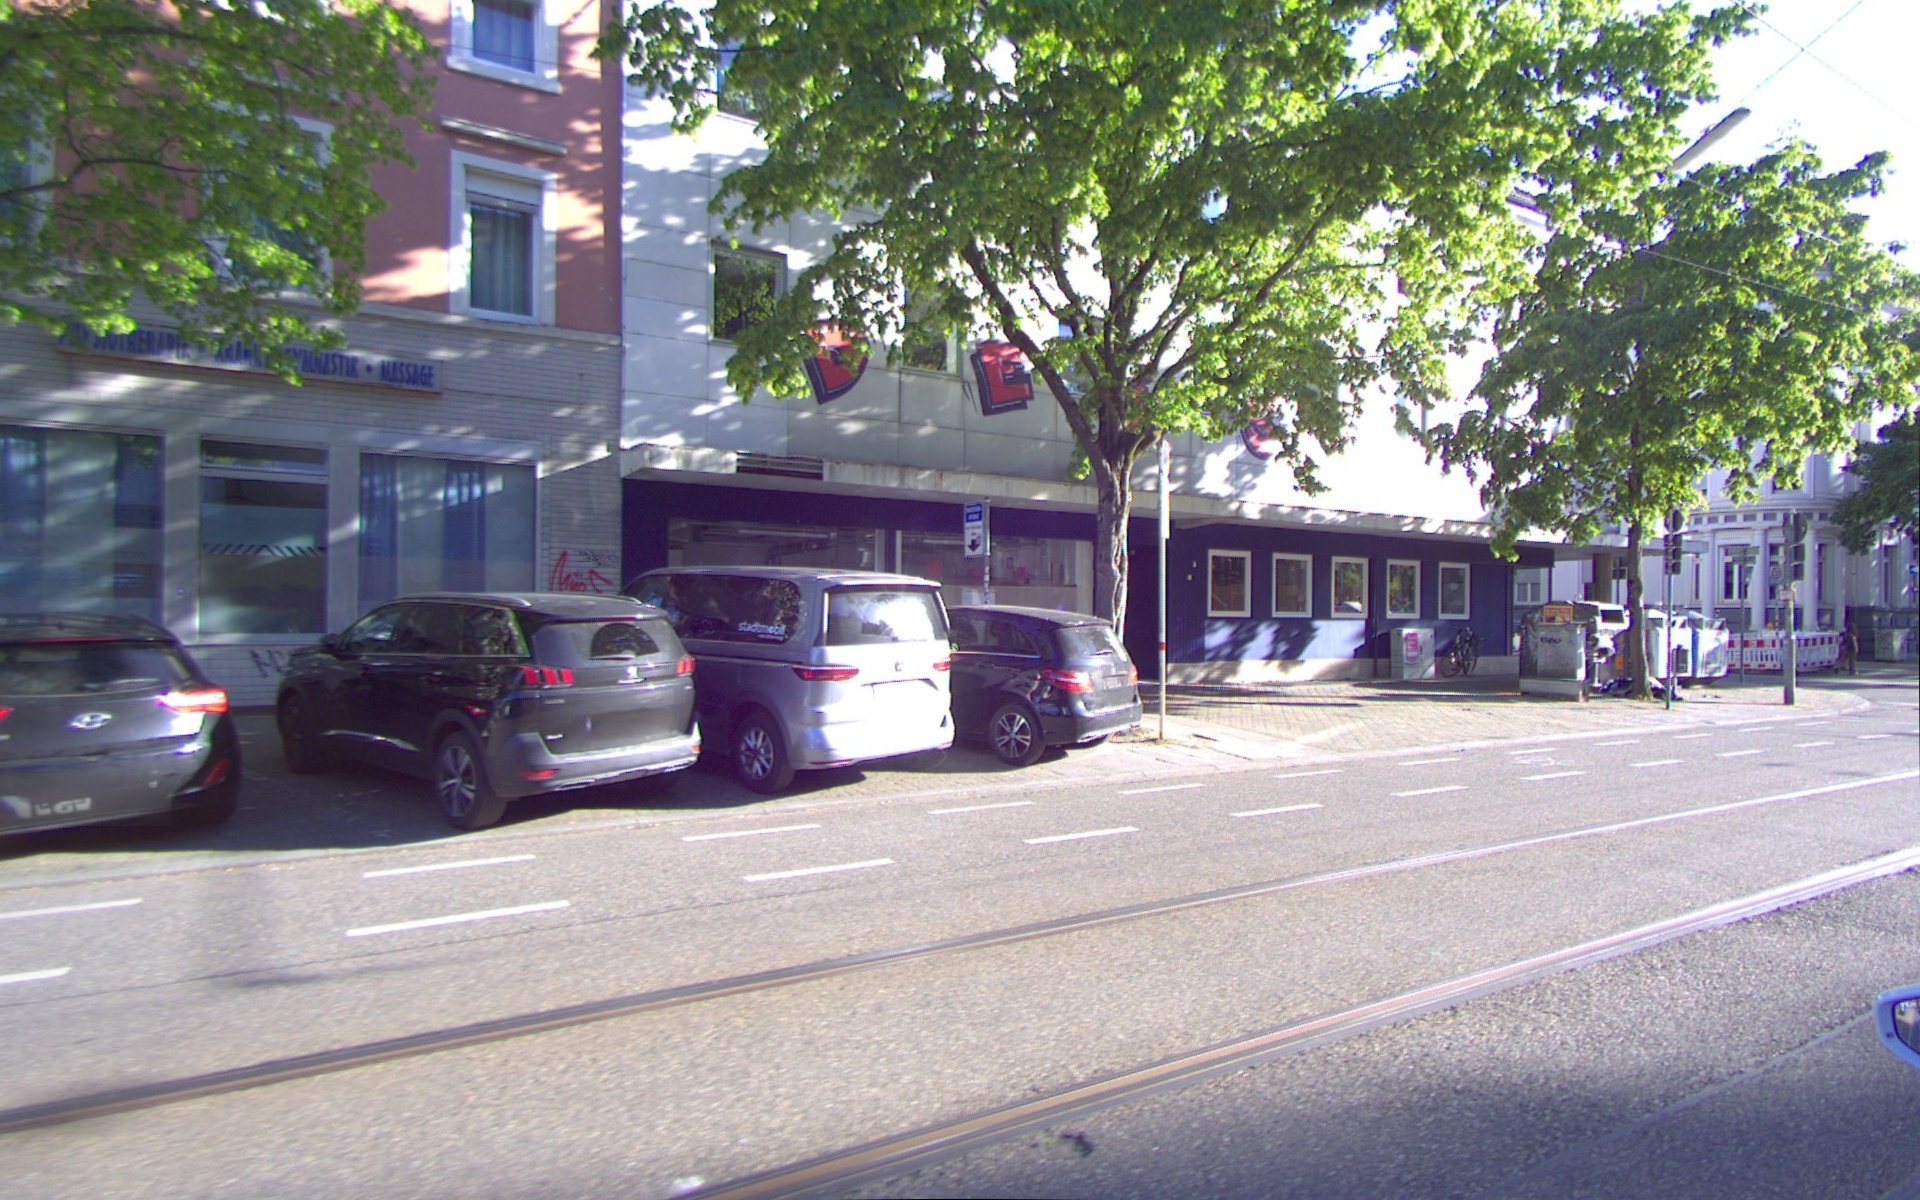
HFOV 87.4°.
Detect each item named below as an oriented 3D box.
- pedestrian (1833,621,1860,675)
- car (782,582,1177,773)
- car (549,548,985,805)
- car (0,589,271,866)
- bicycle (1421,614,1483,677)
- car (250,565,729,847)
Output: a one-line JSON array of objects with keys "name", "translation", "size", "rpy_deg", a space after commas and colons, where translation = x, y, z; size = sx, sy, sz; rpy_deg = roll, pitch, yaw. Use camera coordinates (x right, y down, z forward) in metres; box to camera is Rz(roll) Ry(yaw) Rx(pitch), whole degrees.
[{"name": "pedestrian", "translation": [26.727, 1.441, 30.285], "size": [0.502, 1.593, 0.346], "rpy_deg": [0, 0, -2]}, {"name": "car", "translation": [0.128, 0.728, 11.642], "size": [4.227, 1.689, 1.905], "rpy_deg": [3, 2, 37]}, {"name": "car", "translation": [-2.059, 0.542, 10.006], "size": [4.301, 2.013, 1.941], "rpy_deg": [3, 1, 39]}, {"name": "car", "translation": [-6.754, 0.722, 7.316], "size": [3.808, 1.496, 1.836], "rpy_deg": [3, 1, 39]}, {"name": "bicycle", "translation": [11.110, 1.005, 22.660], "size": [2.169, 1.362, 0.520], "rpy_deg": [1, -1, -43]}, {"name": "car", "translation": [-4.096, 0.667, 8.508], "size": [4.178, 1.707, 1.805], "rpy_deg": [4, 1, 35]}]
